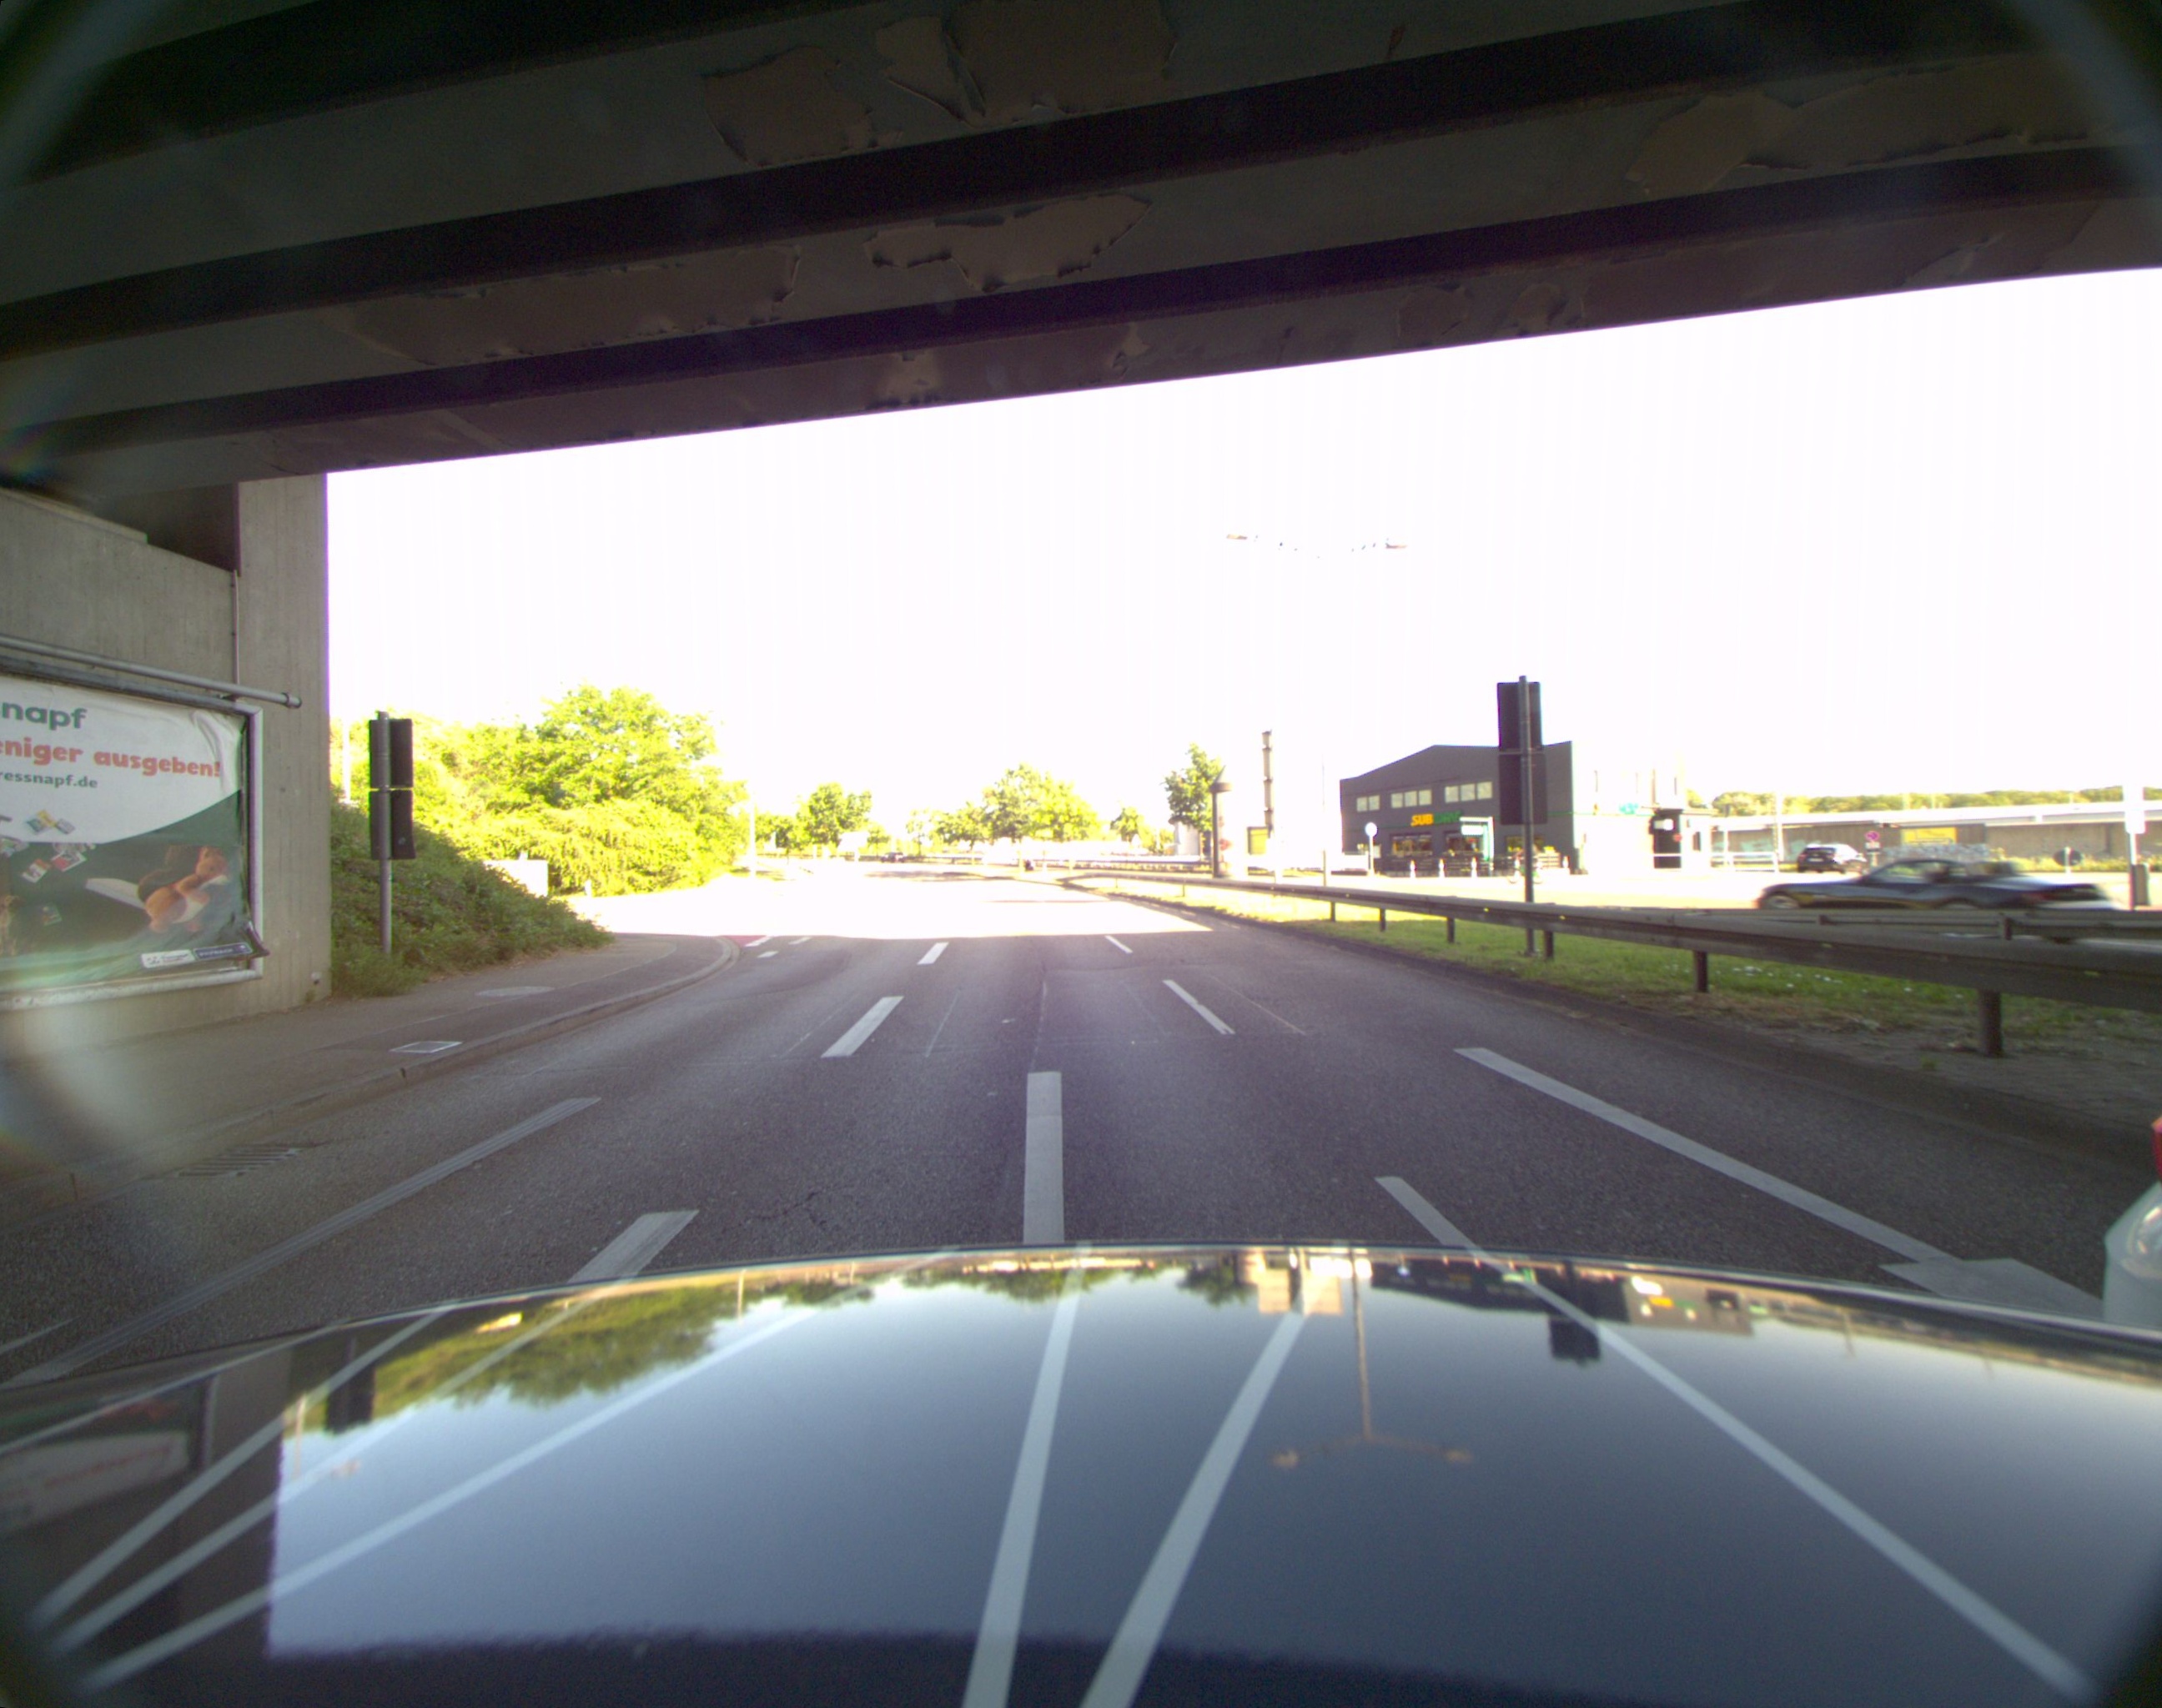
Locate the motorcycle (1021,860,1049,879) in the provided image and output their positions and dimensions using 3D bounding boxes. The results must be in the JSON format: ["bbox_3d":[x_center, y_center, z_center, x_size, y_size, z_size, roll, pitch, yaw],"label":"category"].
[{"bbox_3d":[-4.314,1.415,70.367,1.110,1.651,3.147,-3,1,-33],"label":"motorcycle"}]

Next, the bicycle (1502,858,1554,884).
[{"bbox_3d":[18.131,0.691,30.875,0.594,1.017,1.746,-3,1,-28],"label":"bicycle"}]

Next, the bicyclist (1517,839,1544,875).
[{"bbox_3d":[18.184,0.140,30.726,0.594,1.419,0.707,-3,1,-28],"label":"bicyclist"}]

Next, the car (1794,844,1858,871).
[{"bbox_3d":[38.294,0.183,39.023,4.191,1.274,1.825,1,0,-39],"label":"car"}]

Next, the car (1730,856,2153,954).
[{"bbox_3d":[13.082,0.685,12.041,1.747,1.274,4.180,1,0,-7],"label":"car"}]

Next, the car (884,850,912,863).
[{"bbox_3d":[-25.669,0.382,106.586,1.835,1.727,4.516,1,0,-42],"label":"car"}]

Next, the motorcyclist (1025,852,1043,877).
[{"bbox_3d":[-4.342,0.983,70.380,1.110,2.228,1.180,-3,1,-33],"label":"motorcyclist"}]
